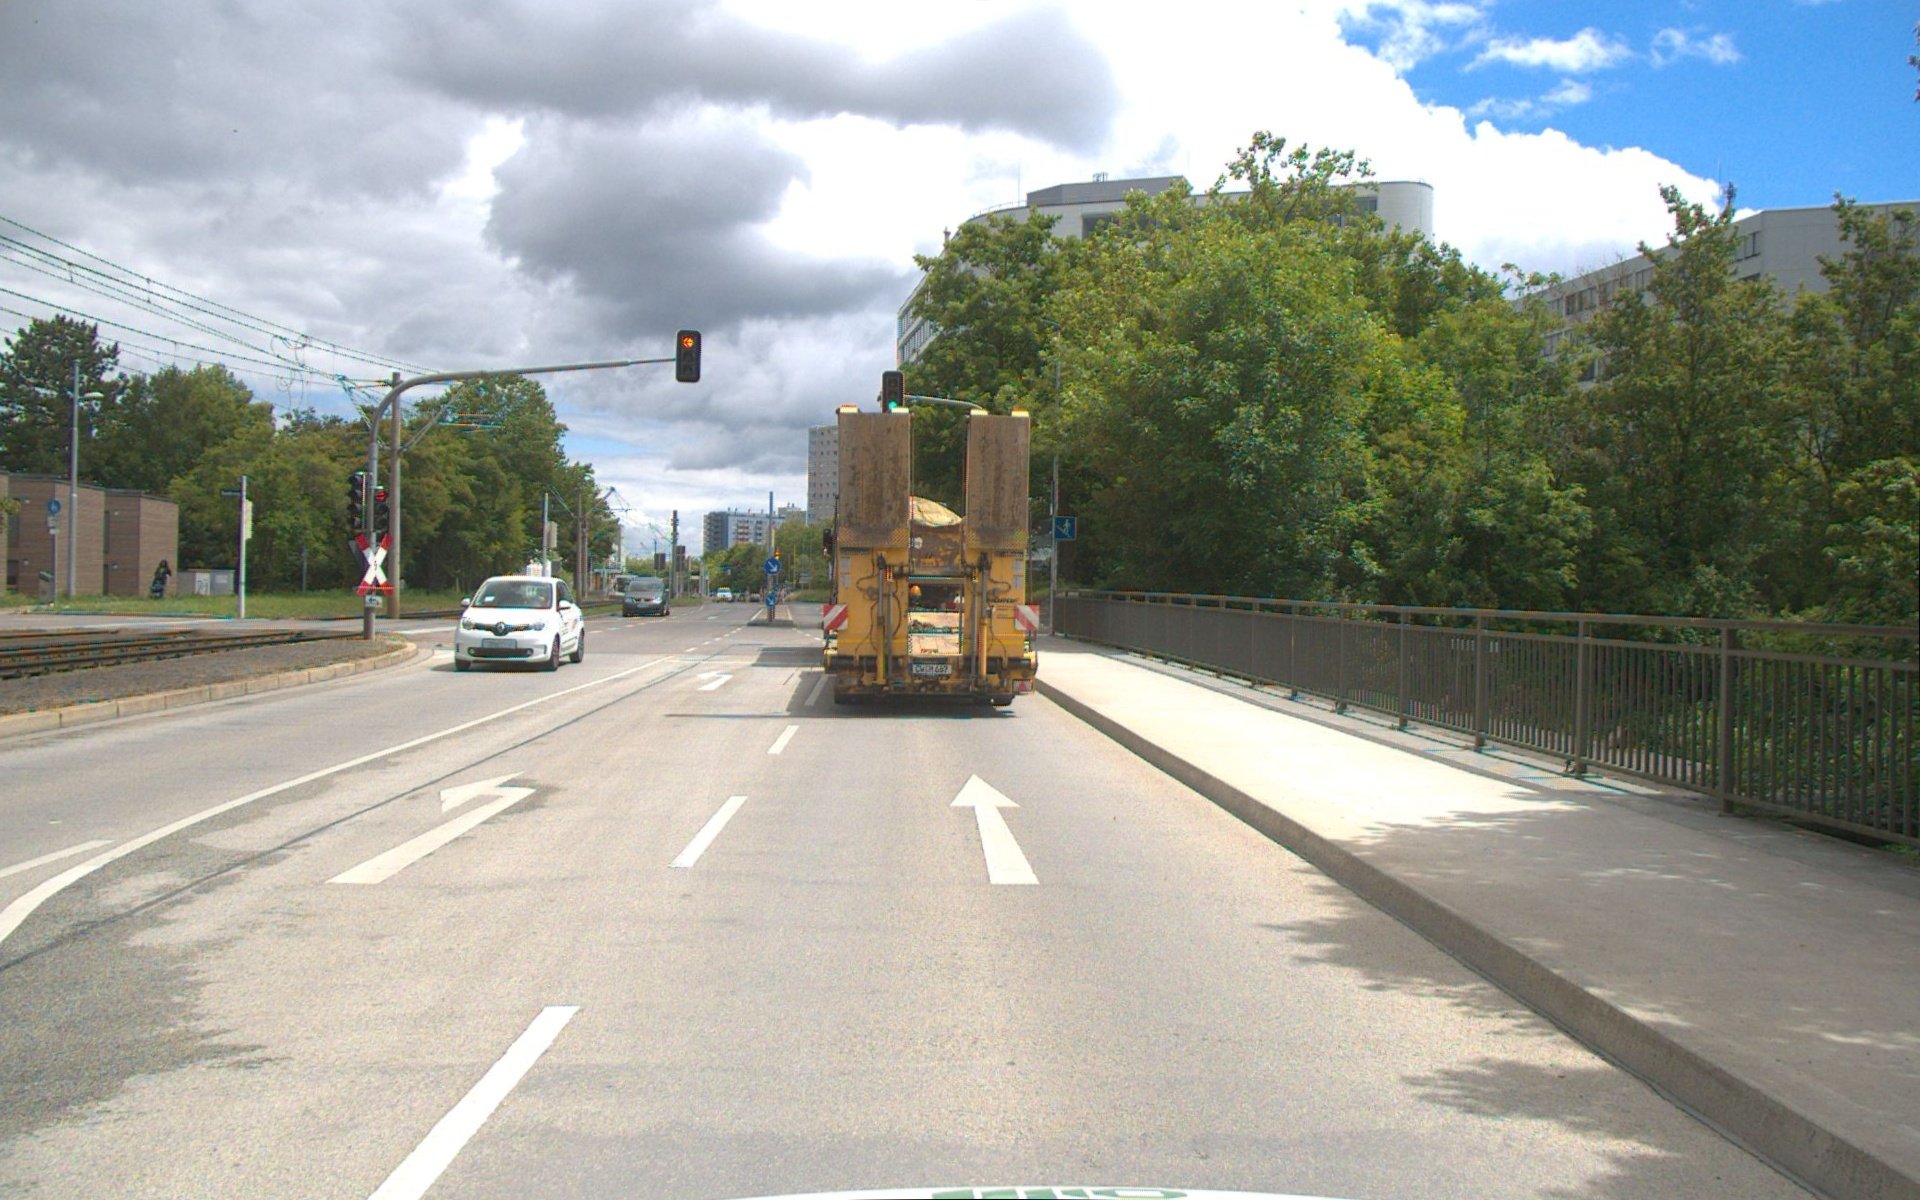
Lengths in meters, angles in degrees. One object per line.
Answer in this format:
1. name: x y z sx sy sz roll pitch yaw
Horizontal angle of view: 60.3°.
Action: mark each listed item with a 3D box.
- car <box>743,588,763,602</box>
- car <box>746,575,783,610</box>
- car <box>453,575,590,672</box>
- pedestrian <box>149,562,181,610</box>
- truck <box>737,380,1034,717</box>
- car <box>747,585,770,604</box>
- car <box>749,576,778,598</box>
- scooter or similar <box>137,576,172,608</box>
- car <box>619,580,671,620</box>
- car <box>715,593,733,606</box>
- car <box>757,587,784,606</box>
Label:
1. car: -20.077 -0.520 160.621 1.749 1.294 4.340 1 0 -6
2. car: -11.711 -0.446 99.175 1.955 1.959 3.996 3 0 -5
3. car: -7.477 0.371 28.503 1.561 1.553 3.653 1 0 -3
4. pedestrian: -31.410 -0.563 65.343 0.785 1.843 0.808 3 0 -1
5. truck: -0.810 -0.614 25.156 3.248 3.714 12.562 2 0 0
6. car: -19.020 -0.509 156.451 1.955 1.646 3.996 3 0 -5
7. car: -14.490 -0.959 122.106 1.955 1.445 3.996 3 0 -5
8. scooter or similar: -31.395 -0.306 64.477 0.873 1.205 0.972 3 0 -3
9. car: -13.325 -0.015 70.062 1.749 1.597 4.340 1 0 -6
10. car: -26.001 -0.065 181.951 1.749 1.294 4.340 1 0 -6
11. car: -15.131 -0.302 132.078 1.955 1.445 3.996 3 0 -5
